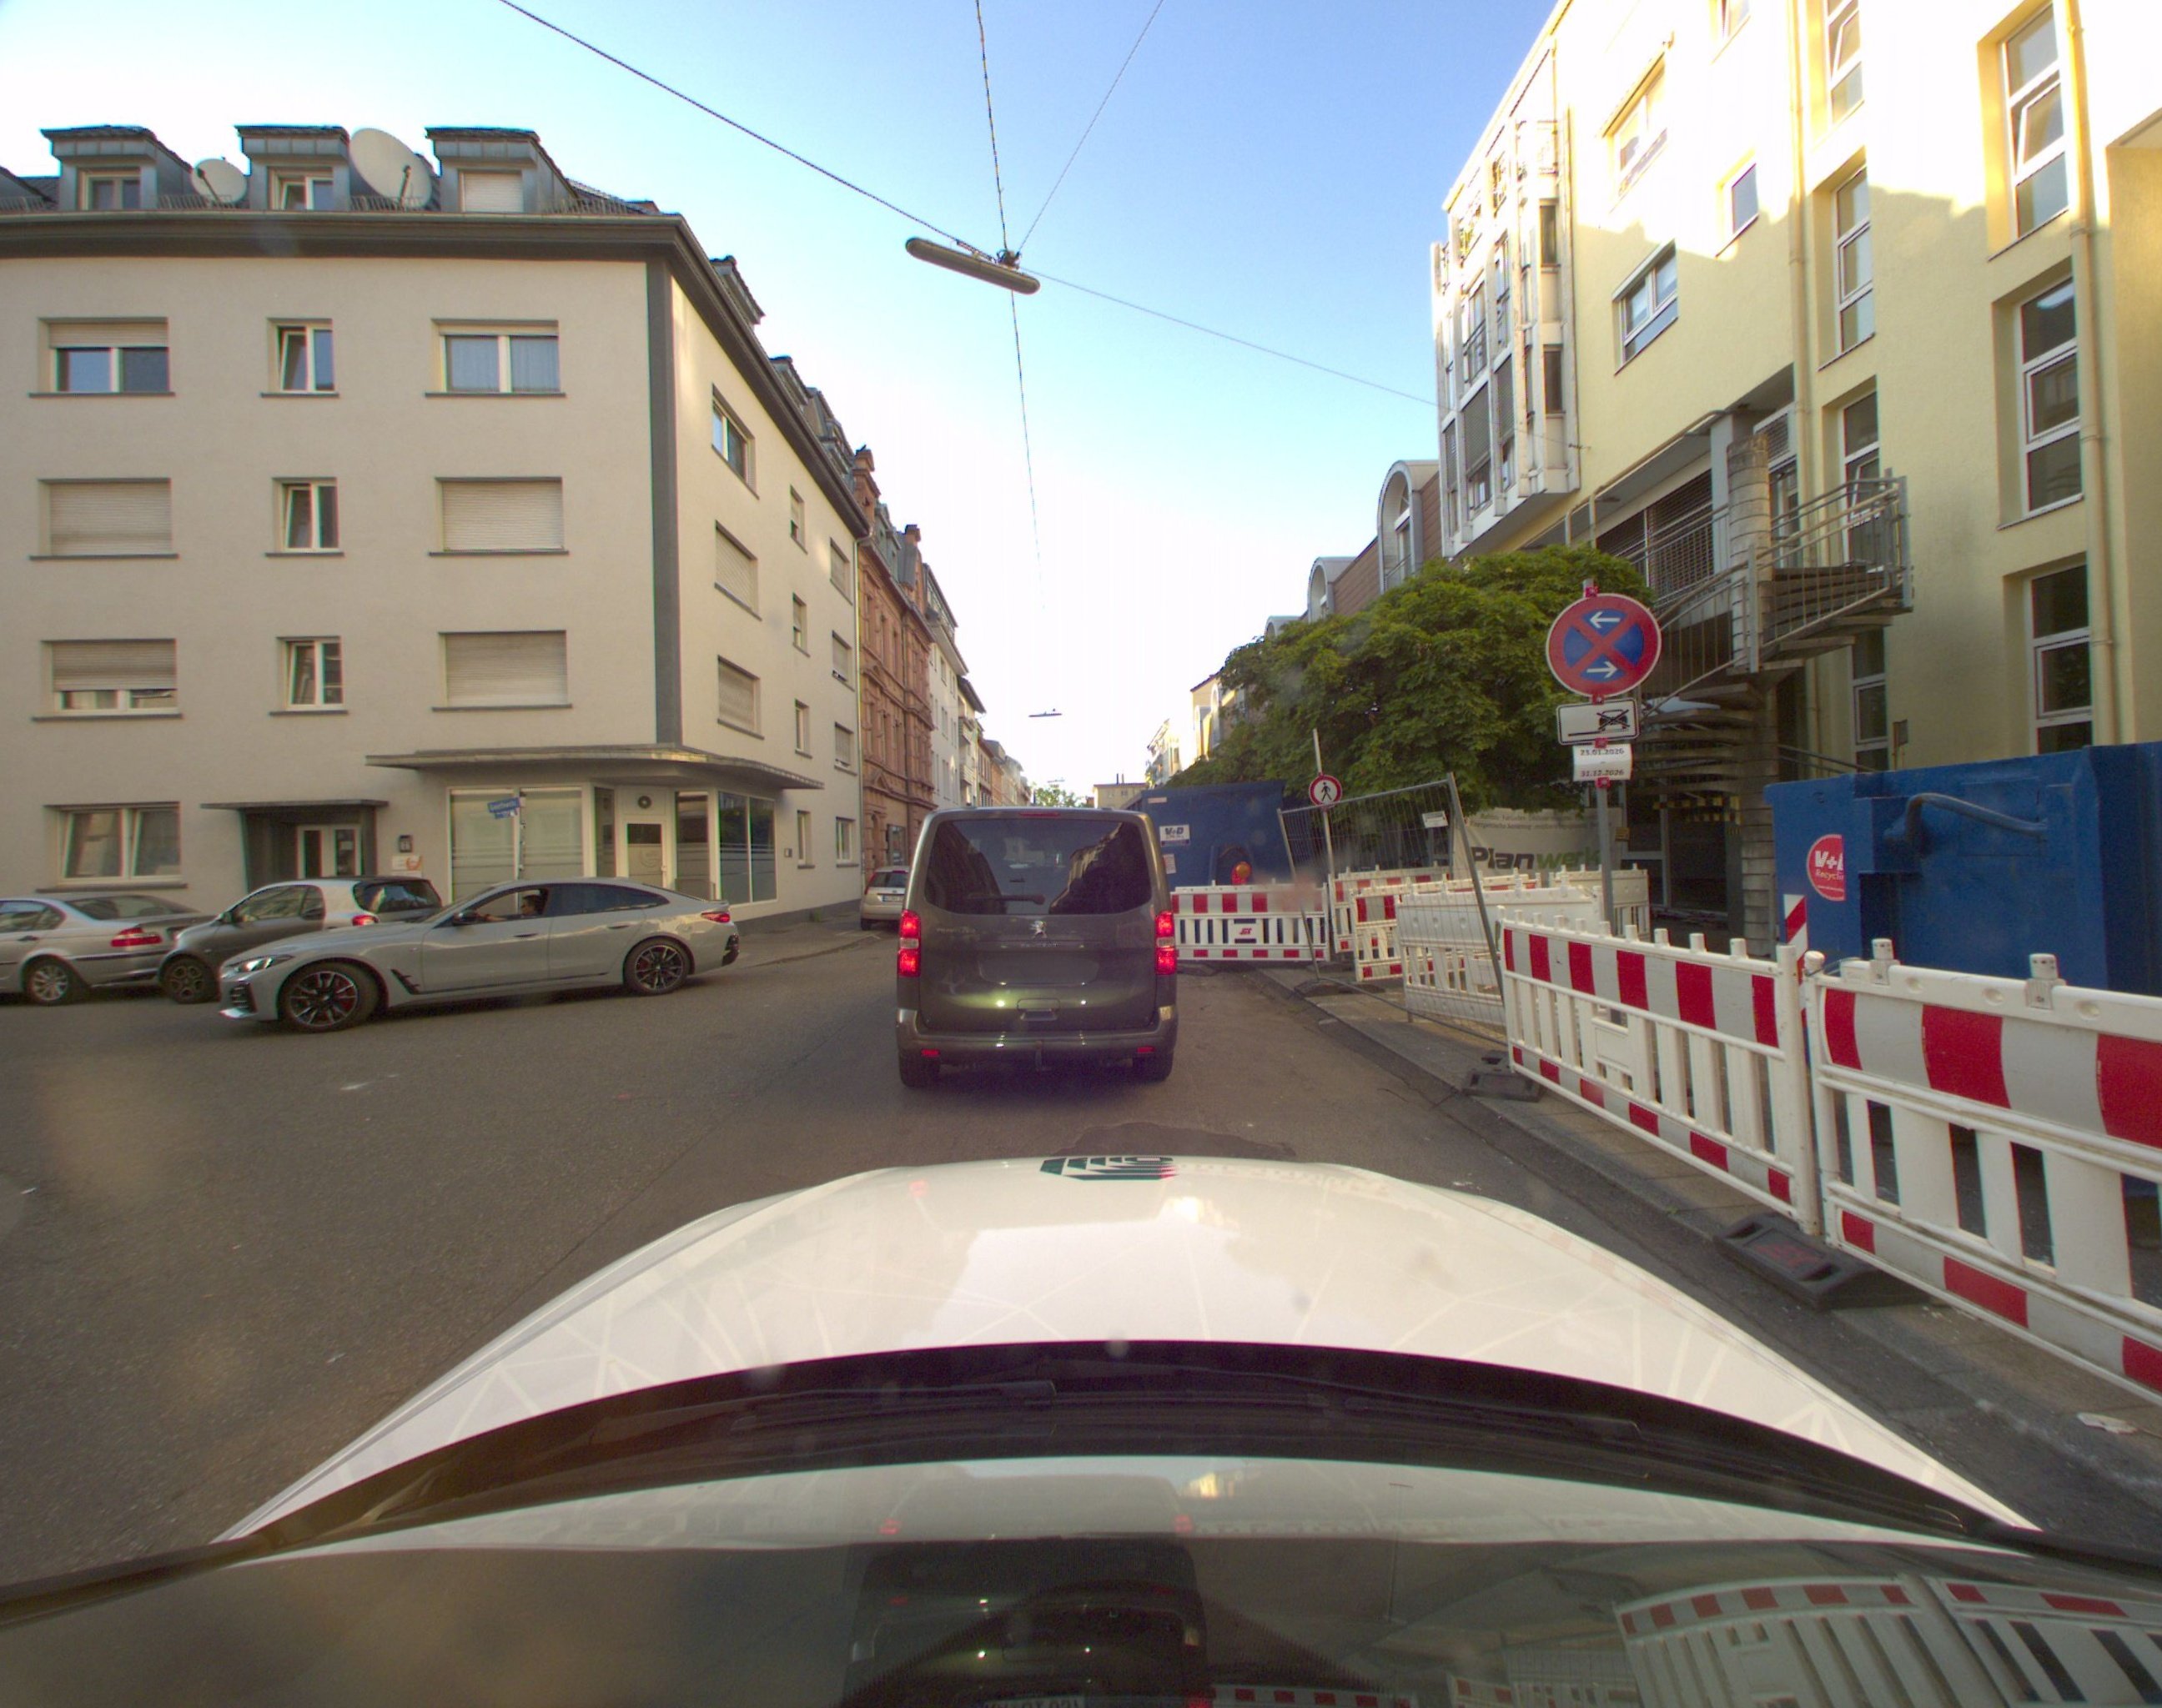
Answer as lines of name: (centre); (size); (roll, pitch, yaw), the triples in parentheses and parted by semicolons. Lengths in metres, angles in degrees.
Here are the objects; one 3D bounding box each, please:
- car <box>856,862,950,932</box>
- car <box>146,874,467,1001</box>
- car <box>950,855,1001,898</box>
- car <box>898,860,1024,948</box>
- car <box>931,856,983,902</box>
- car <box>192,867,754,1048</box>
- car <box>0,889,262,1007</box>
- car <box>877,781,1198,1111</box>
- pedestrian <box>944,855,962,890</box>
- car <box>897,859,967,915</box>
car: (-4.153, 0.969, 19.512); (1.653, 1.460, 3.412); (3, -1, -4)
car: (-10.290, 1.063, 10.992); (2.778, 1.540, 1.593); (0, 0, -1)
car: (-4.543, 0.956, 35.569); (1.888, 1.720, 3.748); (3, -1, -4)
car: (-2.210, 0.906, 15.896); (1.648, 1.460, 3.422); (-3, -2, 4)
car: (-4.804, 0.954, 31.928); (1.663, 1.666, 3.087); (3, -1, -4)
car: (-6.632, 0.972, 9.549); (4.834, 1.451, 1.912); (-2, 0, -38)
car: (-14.209, 1.261, 11.167); (4.193, 1.403, 1.602); (-1, 0, -2)
car: (-0.392, 0.553, 6.904); (1.862, 1.886, 4.228); (-1, -1, -4)
pedestrian: (-6.199, 0.870, 39.484); (0.739, 1.664, 0.702); (-2, 0, -5)
car: (-4.454, 0.973, 24.831); (1.653, 1.525, 3.412); (3, -1, -4)
